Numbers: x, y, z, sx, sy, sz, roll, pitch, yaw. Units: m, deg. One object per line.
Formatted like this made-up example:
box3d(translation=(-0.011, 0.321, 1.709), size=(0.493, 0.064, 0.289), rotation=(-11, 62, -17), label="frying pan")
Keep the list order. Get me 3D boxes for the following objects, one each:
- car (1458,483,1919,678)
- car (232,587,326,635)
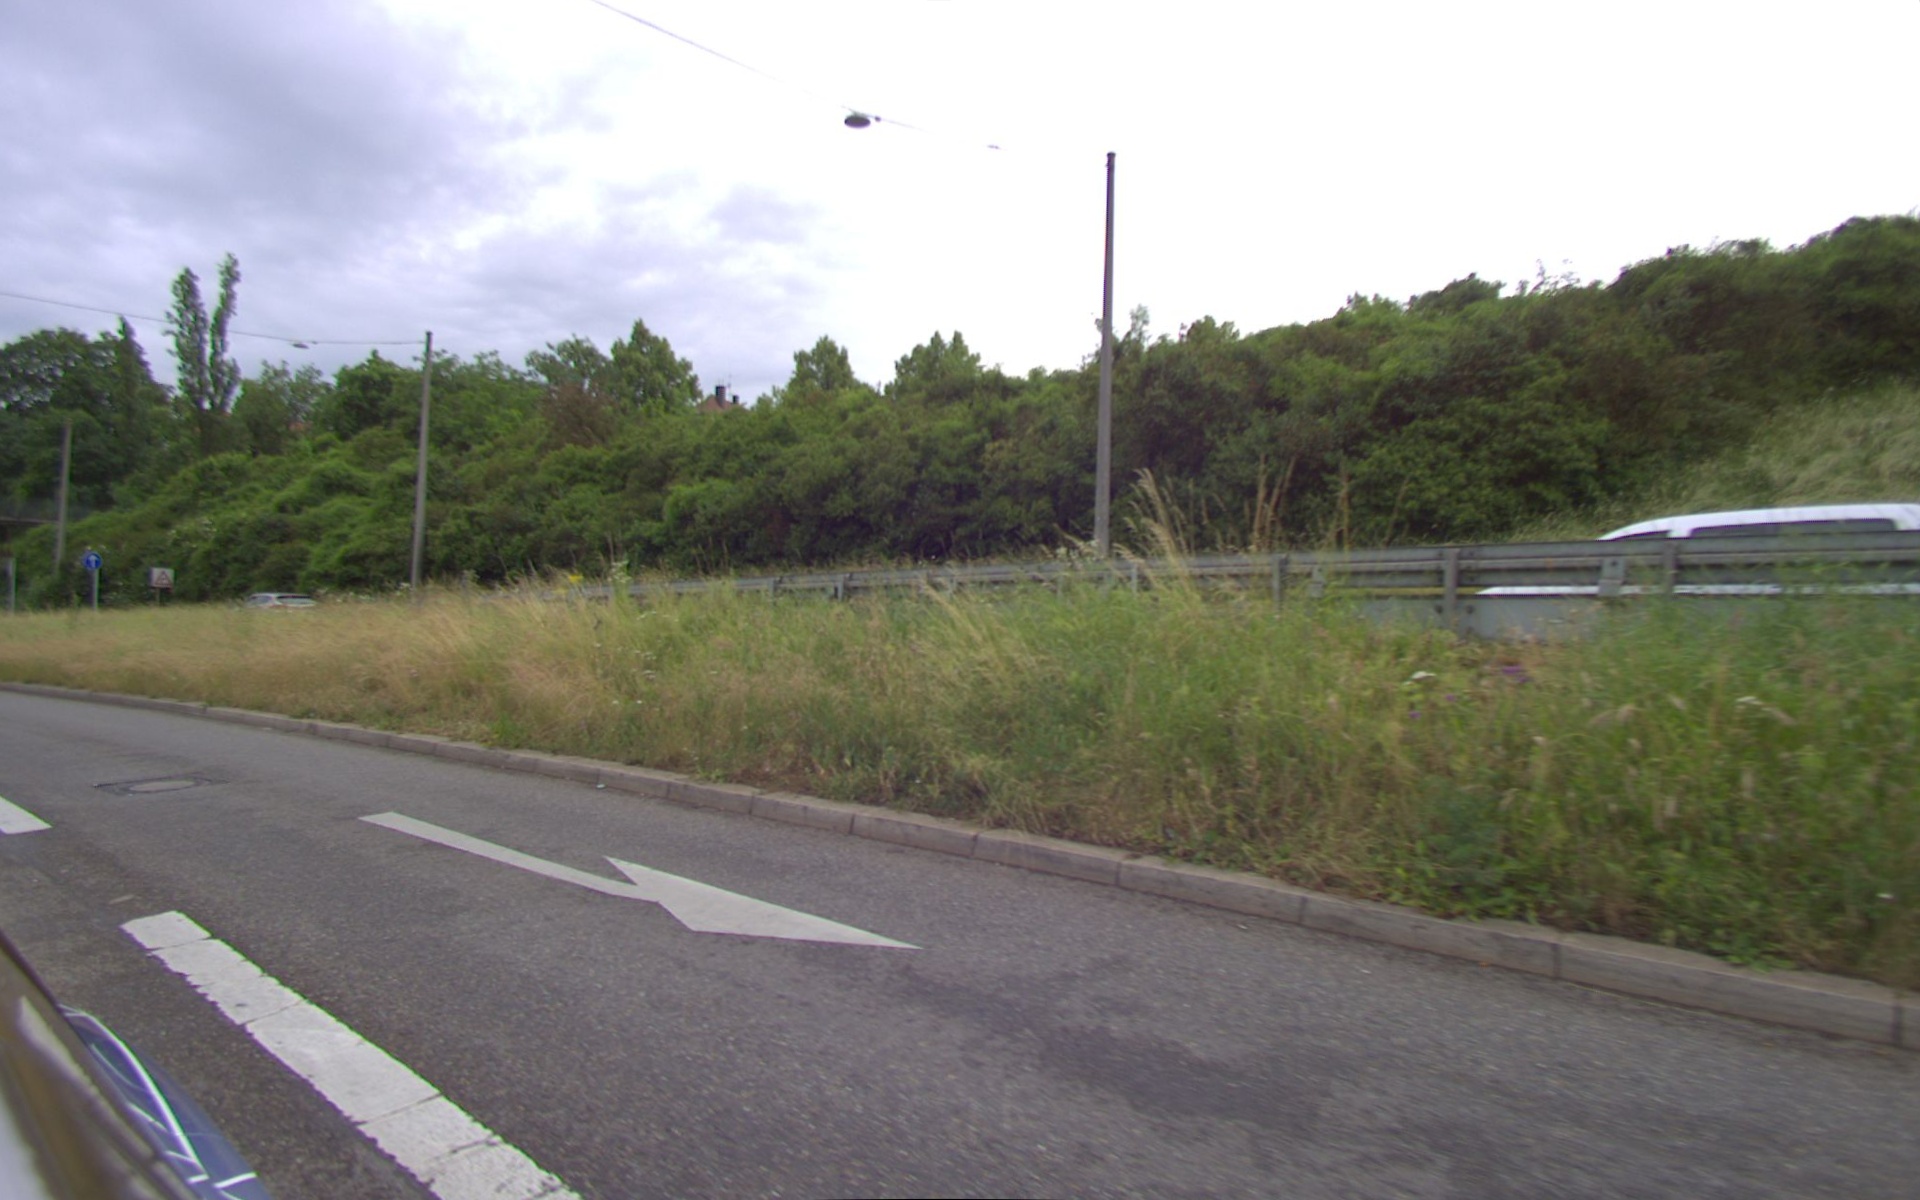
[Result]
box3d(translation=(8.409, -0.187, 11.464), size=(4.693, 1.864, 1.798), rotation=(0, 0, 39), label="car")
box3d(translation=(-26.100, 0.465, 38.770), size=(3.672, 1.528, 1.719), rotation=(-1, -10, 38), label="car")
